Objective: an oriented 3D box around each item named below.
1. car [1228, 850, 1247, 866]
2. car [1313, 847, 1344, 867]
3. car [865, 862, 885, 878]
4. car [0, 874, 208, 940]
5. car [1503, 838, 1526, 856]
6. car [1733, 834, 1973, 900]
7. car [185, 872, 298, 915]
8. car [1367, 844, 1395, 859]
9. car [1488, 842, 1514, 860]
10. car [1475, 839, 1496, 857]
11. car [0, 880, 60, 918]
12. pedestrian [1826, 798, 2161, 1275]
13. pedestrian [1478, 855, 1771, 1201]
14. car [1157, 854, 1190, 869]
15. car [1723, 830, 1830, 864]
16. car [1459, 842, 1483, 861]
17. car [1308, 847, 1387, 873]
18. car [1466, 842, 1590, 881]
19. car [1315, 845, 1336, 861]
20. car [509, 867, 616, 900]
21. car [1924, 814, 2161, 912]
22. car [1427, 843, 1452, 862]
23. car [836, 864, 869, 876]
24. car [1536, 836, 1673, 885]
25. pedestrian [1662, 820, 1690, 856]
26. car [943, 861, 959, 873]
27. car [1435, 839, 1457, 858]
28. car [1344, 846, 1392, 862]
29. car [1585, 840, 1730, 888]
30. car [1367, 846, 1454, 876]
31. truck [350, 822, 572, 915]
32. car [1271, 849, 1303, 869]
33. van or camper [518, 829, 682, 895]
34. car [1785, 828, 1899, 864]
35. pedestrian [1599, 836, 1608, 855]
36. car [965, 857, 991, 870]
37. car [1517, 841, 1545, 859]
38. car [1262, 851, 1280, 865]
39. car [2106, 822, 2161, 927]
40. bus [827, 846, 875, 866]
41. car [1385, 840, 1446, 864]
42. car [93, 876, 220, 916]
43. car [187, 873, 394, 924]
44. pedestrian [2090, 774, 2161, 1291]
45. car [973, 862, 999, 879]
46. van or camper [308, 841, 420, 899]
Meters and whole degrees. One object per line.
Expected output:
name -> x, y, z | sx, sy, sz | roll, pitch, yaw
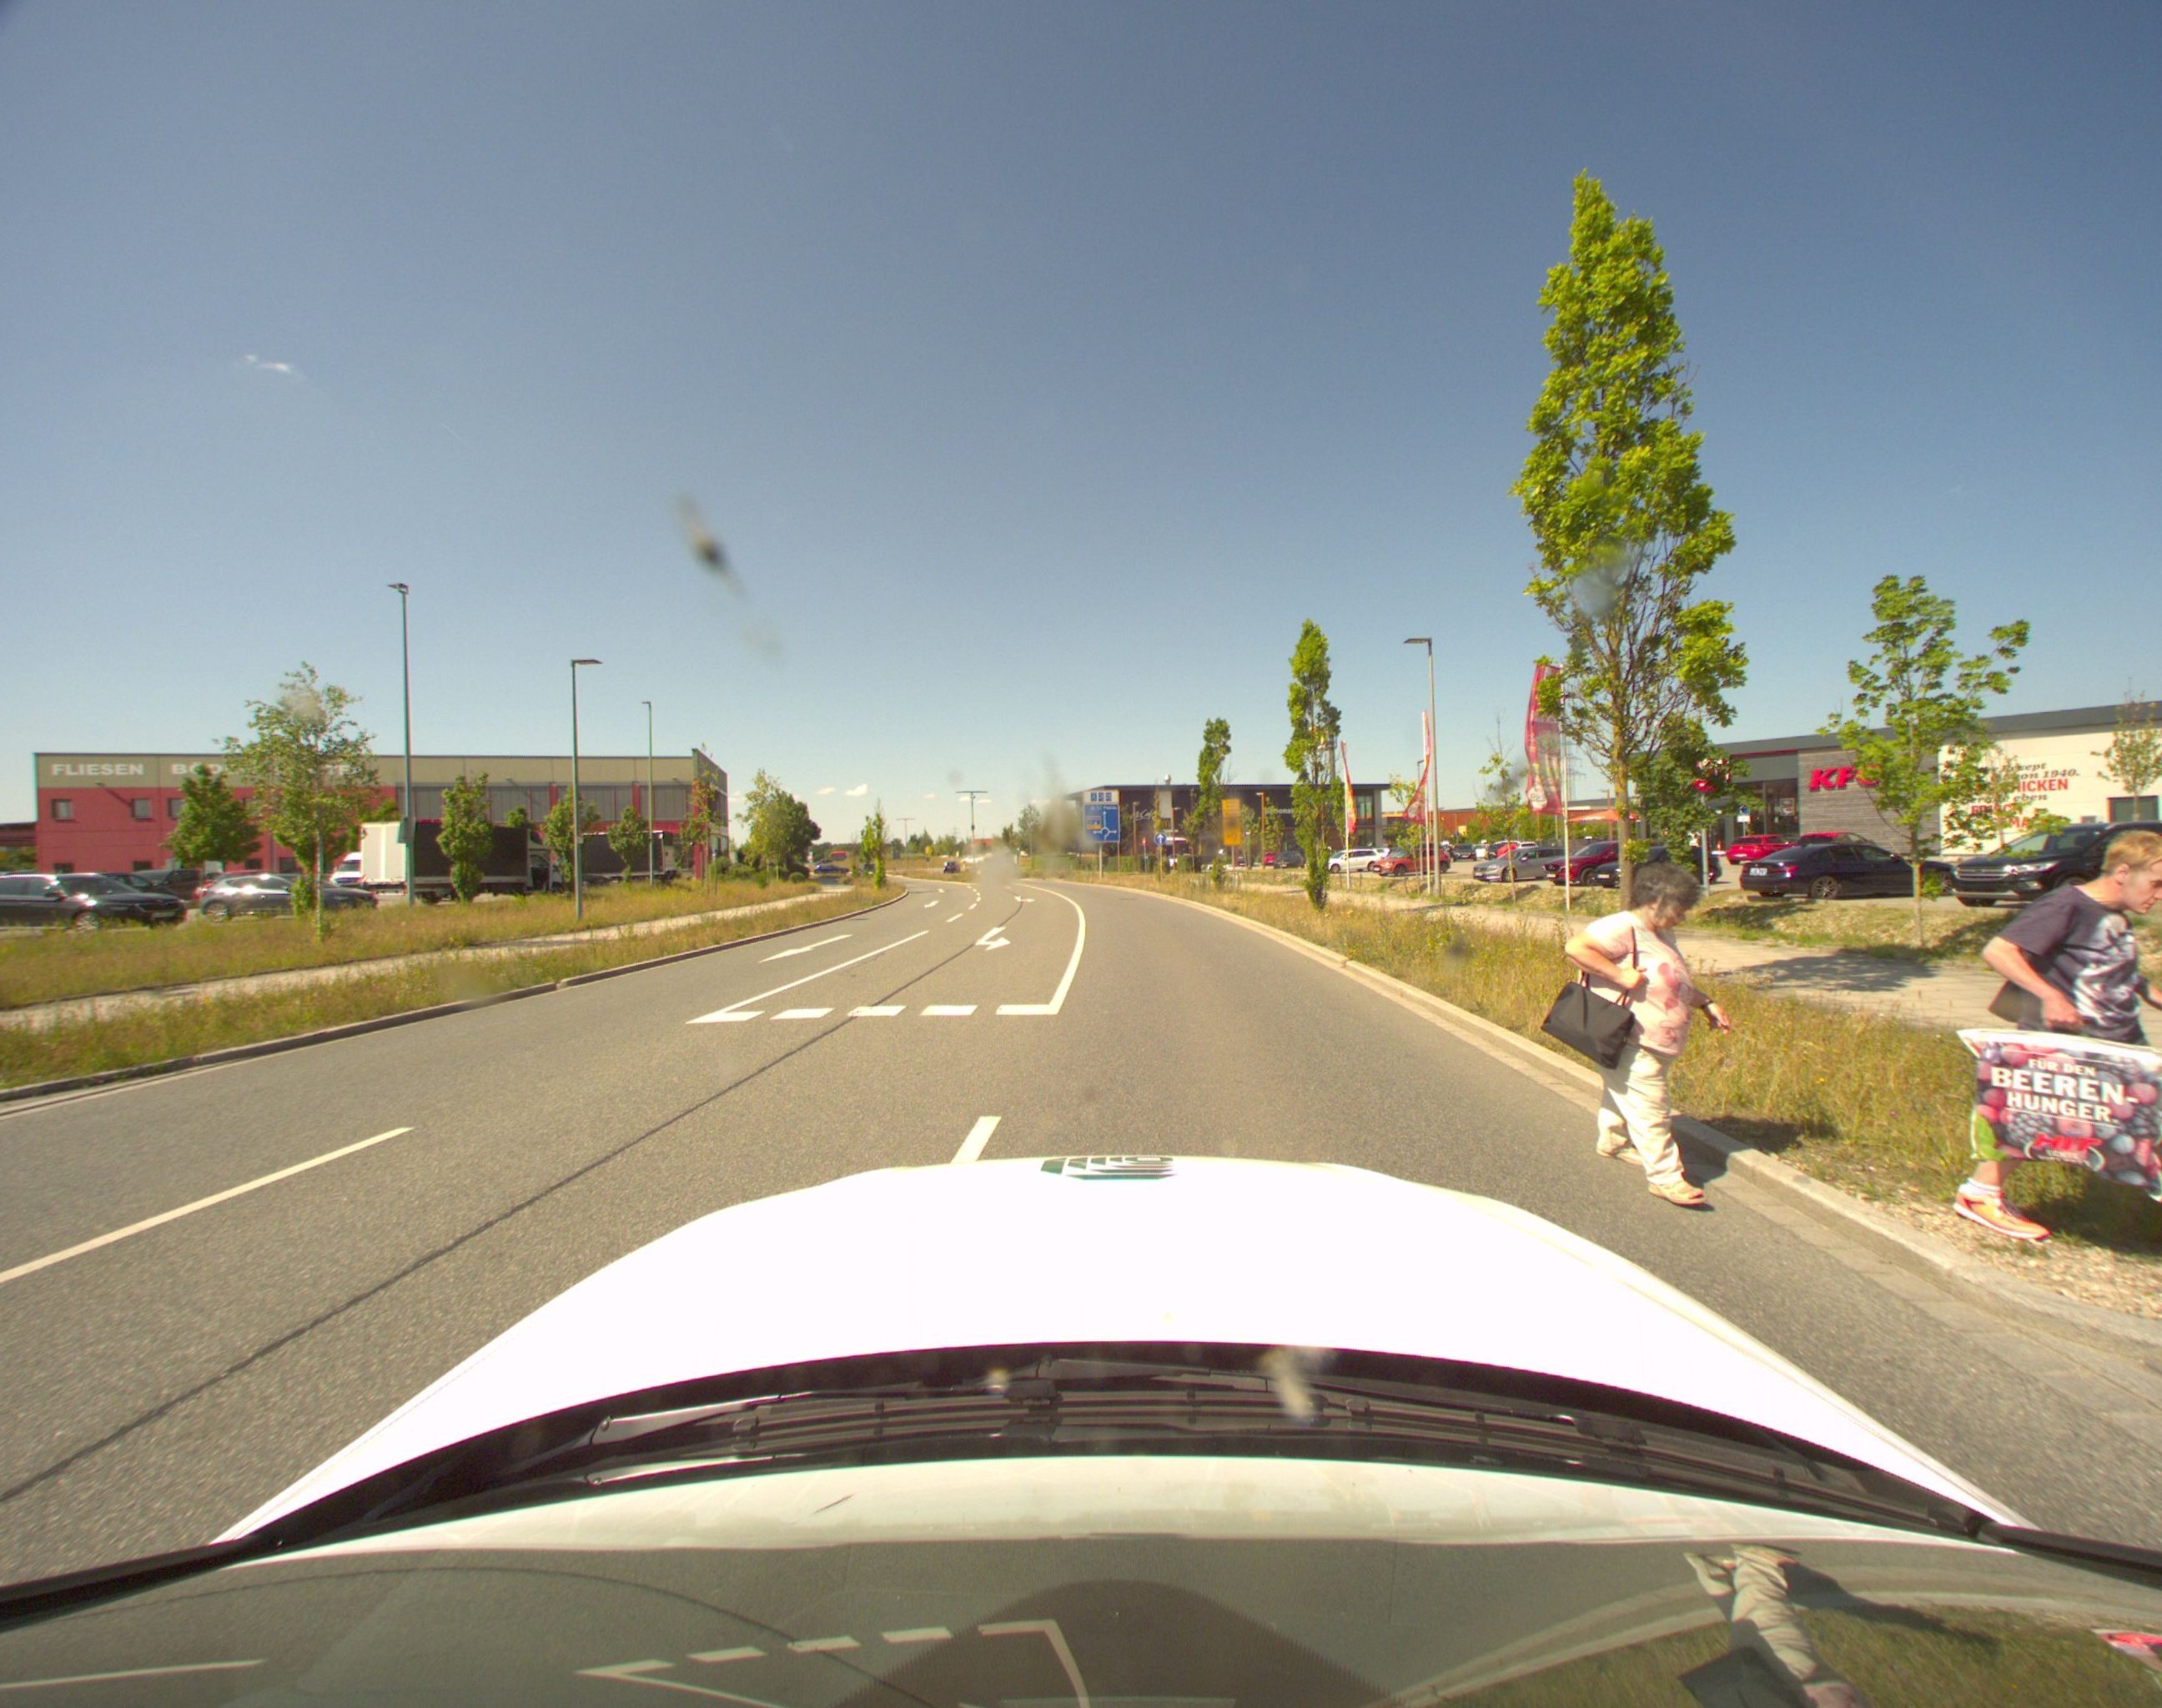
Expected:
car -> 16.816, 0.397, 87.570 | 1.780, 1.604, 4.014 | -2, 0, 13
car -> 19.791, 0.235, 65.016 | 1.769, 1.462, 4.193 | -2, 0, 25
car -> -25.084, 1.977, 99.143 | 1.957, 1.794, 4.398 | -3, 0, -19
car -> -25.169, 1.309, 20.326 | 4.565, 1.458, 1.836 | -2, 0, -3
car -> 44.258, -0.704, 83.135 | 1.769, 1.757, 4.193 | -2, 0, 25
car -> 19.948, 0.318, 21.193 | 4.386, 1.449, 1.793 | -3, 0, 4
car -> -38.727, 1.768, 37.728 | 1.838, 1.773, 4.353 | -2, 0, -19
car -> 34.340, -0.283, 93.221 | 1.775, 1.520, 4.026 | -3, 0, 38
car -> 36.402, -0.303, 70.658 | 1.769, 1.451, 4.193 | -2, 0, 25
car -> 40.696, -0.628, 81.978 | 1.769, 1.757, 4.193 | -2, 0, 25
car -> -46.666, 1.965, 34.718 | 1.838, 1.562, 4.353 | -2, 0, -19
pedestrian -> 3.696, 0.624, 3.188 | 0.797, 1.630, 0.805 | -1, -1, 3
pedestrian -> 2.550, 0.749, 3.957 | 0.789, 1.470, 0.950 | -1, -1, 3
car -> 9.330, 0.776, 82.575 | 1.798, 1.434, 3.975 | -2, 0, -18
car -> 33.924, -0.347, 39.732 | 4.569, 1.431, 1.857 | -3, 0, -19
car -> 33.024, -0.228, 69.067 | 1.769, 1.451, 4.193 | -2, 0, 25
car -> 17.421, 0.377, 53.291 | 4.528, 1.490, 1.861 | -2, 0, -12
car -> 19.685, 0.318, 35.966 | 4.552, 1.490, 1.864 | -3, 0, -8
car -> 27.407, -0.089, 91.179 | 1.777, 1.702, 4.022 | -2, 0, 23
car -> -27.270, 1.537, 42.966 | 4.373, 1.552, 1.829 | -2, 0, -14
car -> 20.236, 0.145, 16.537 | 4.392, 1.734, 1.791 | -3, 0, 0
car -> 30.109, -0.161, 68.286 | 1.769, 1.451, 4.193 | -2, 0, 25
car -> -30.339, 2.128, 108.035 | 3.759, 1.517, 1.780 | -2, 0, 15
car -> 20.078, 0.236, 31.336 | 4.145, 1.665, 1.866 | -3, 0, -4
pedestrian -> 34.320, -0.921, 46.979 | 0.914, 2.014, 0.887 | -2, -1, -15
car -> -17.024, 1.684, 106.704 | 1.613, 1.434, 3.788 | -2, 0, -3
car -> 35.492, -0.508, 79.127 | 1.769, 1.757, 4.193 | -2, 0, 25
car -> 27.046, 0.023, 76.791 | 3.949, 1.373, 1.809 | -2, 0, 28
car -> 20.407, 0.343, 28.878 | 4.154, 1.449, 1.785 | -3, 0, -10
car -> 18.540, 0.363, 45.893 | 4.207, 1.490, 1.861 | -2, 0, -11
truck -> -25.803, 0.553, 34.472 | 2.299, 3.464, 7.526 | -2, 0, 16
car -> 16.160, 0.375, 63.719 | 1.682, 1.462, 4.193 | -2, 0, 25
van or camper -> -27.770, 0.438, 47.386 | 7.700, 3.468, 2.544 | -2, -1, -13
car -> 34.757, -0.372, 37.208 | 4.569, 1.431, 1.857 | -3, 0, -19
pedestrian -> 35.968, -0.576, 56.042 | 0.380, 1.240, 0.290 | -2, -1, -20
car -> -17.478, 1.576, 138.666 | 3.967, 2.014, 1.837 | -2, 0, 5
car -> 39.568, -0.375, 71.705 | 1.769, 1.451, 4.193 | -2, 0, 25
car -> 20.663, 0.375, 88.512 | 1.780, 1.434, 4.014 | -2, 0, 13
car -> 20.229, 0.257, 13.670 | 4.404, 1.734, 1.786 | -3, 0, -9
bus -> -41.690, 0.356, 148.164 | 2.767, 3.078, 12.249 | -2, 2, 13
car -> 25.495, -0.160, 62.084 | 4.169, 1.635, 1.780 | -2, 0, -20
car -> -41.611, 1.853, 36.825 | 1.838, 1.562, 4.353 | -2, 0, -19
car -> -24.755, 1.359, 25.648 | 4.413, 1.383, 1.973 | -2, 0, -3
pedestrian -> 3.779, 0.557, 2.275 | 0.805, 1.628, 0.867 | -1, -1, 3
car -> -8.777, 1.520, 75.124 | 1.621, 1.434, 3.768 | -2, 0, -19
van or camper -> -43.880, 0.939, 50.111 | 2.436, 3.271, 7.191 | -2, 0, -18
